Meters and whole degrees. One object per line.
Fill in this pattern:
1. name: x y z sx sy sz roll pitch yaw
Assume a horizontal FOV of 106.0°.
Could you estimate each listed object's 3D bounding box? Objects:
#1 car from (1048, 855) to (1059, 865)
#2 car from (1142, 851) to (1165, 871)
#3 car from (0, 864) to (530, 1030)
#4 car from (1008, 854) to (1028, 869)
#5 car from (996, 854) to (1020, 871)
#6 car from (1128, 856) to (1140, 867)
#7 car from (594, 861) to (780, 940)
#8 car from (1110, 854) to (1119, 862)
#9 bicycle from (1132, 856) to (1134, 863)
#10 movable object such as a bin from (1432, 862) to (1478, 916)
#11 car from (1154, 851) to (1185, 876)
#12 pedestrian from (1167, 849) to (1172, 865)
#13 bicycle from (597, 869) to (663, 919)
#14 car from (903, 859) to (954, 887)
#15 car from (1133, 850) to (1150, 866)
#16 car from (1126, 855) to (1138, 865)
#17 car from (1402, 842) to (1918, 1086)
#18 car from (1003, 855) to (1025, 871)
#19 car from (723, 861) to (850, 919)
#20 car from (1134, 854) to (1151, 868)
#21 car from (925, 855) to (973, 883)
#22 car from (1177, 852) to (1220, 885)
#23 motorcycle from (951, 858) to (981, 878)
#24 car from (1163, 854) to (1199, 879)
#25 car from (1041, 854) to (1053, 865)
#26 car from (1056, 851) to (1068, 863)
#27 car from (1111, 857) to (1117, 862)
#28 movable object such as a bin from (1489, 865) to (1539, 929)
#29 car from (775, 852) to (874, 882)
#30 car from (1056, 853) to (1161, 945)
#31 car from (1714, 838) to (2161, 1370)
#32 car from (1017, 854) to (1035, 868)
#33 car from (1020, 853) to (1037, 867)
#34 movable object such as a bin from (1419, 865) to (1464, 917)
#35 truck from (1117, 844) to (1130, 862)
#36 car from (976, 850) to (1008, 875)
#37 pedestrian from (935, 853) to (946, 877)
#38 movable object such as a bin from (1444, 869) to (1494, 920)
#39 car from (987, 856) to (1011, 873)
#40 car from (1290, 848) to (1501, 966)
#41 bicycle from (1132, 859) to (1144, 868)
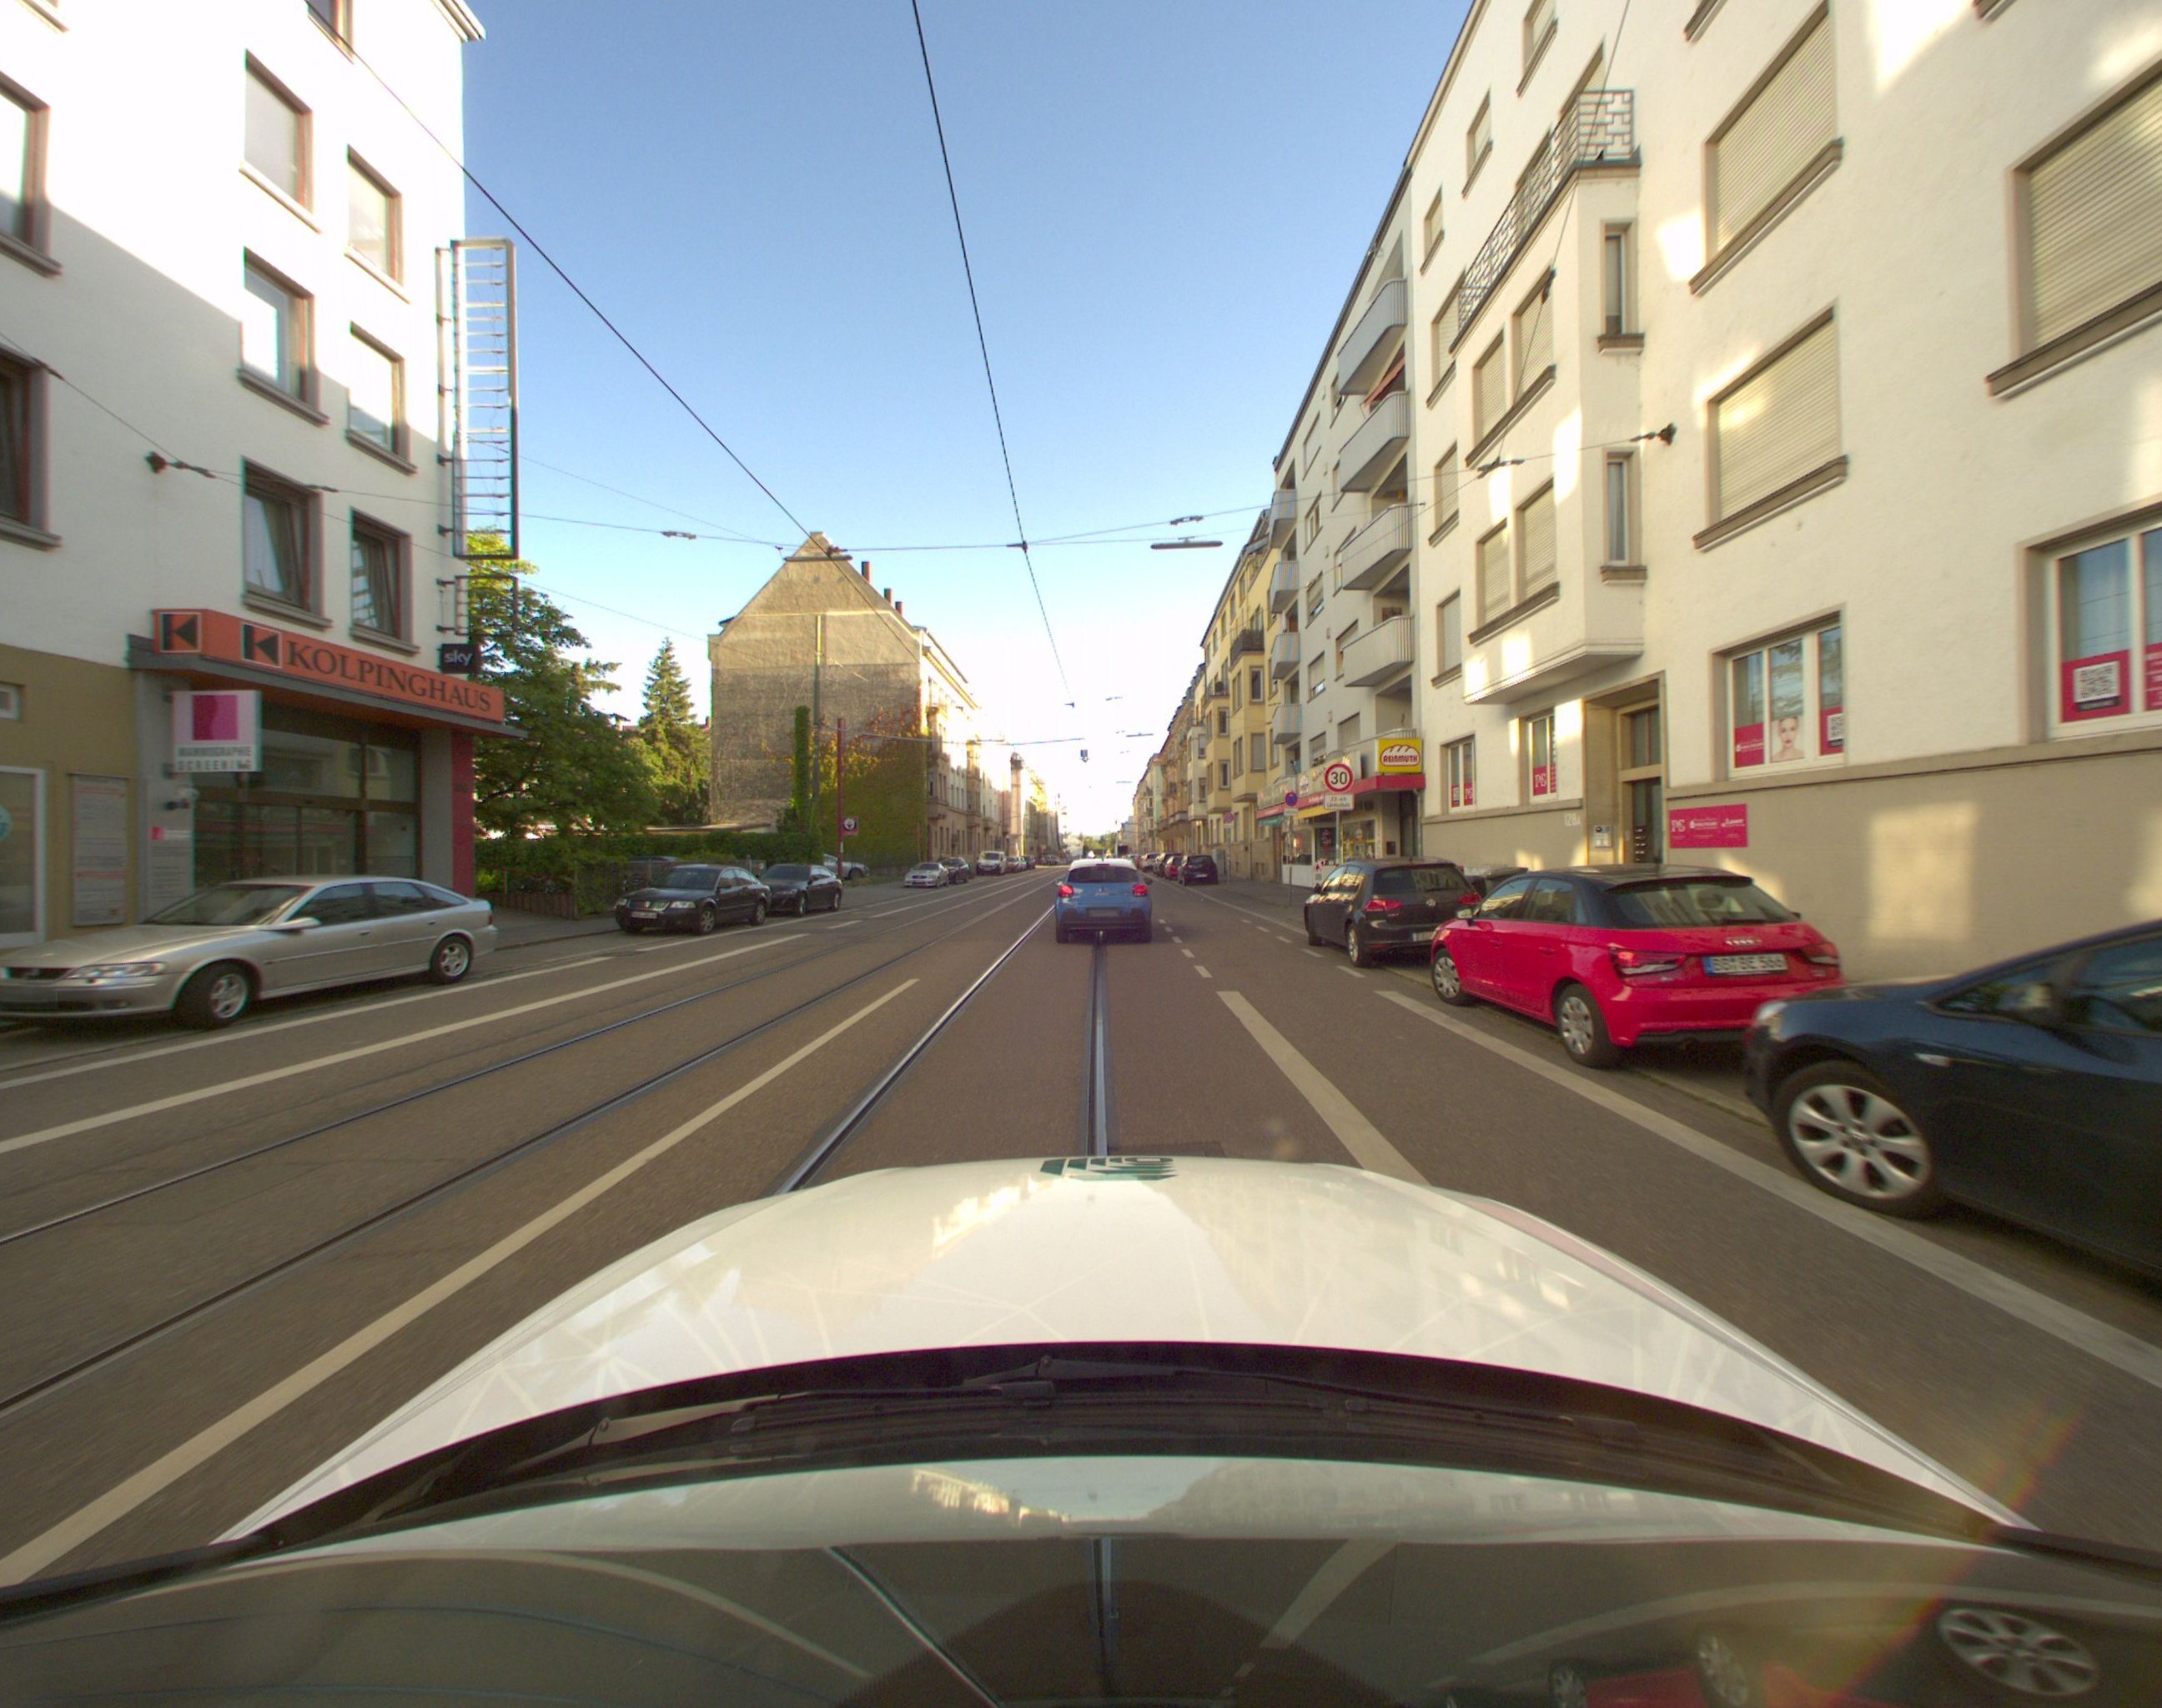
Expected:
1. car: -4.735 0.996 139.288 1.777 1.627 4.608 1 0 0
2. car: 6.411 0.645 72.530 1.836 1.691 4.507 -1 0 2
3. car: -8.952 0.860 9.539 1.776 1.398 4.448 1 0 3
4. car: -6.703 0.790 87.314 1.777 1.622 4.178 1 0 0
5. car: -6.842 0.813 76.631 1.777 1.523 4.360 1 0 1
6. car: 8.283 1.174 127.597 1.777 1.632 4.002 -1 0 2
7. car: -8.557 0.926 18.240 1.777 1.481 4.701 1 0 1
8. car: 7.330 0.881 178.010 1.814 1.894 4.002 0 0 2
9. bicycle: 7.843 0.846 122.426 0.351 1.044 1.730 -1 0 3
10. movable object such as a bin: 7.603 0.705 16.584 0.673 1.072 0.569 -1 0 0
11. car: 6.033 0.625 55.799 1.851 1.665 4.565 -1 0 3
12. pedestrian: 9.325 0.274 85.932 0.511 1.687 0.448 -1 0 1
13. bicycle: -11.436 0.985 20.728 0.438 1.174 2.051 0 0 3
14. car: -8.034 0.973 43.226 1.776 1.314 4.222 1 0 2
15. car: 7.424 0.471 100.479 1.746 1.735 4.509 -4 0 2
16. car: 8.264 0.905 133.159 1.777 1.576 4.328 -1 0 2
17. car: 4.523 0.721 7.271 1.849 1.473 3.991 -4 0 3
18. car: -6.707 0.849 82.000 1.766 1.547 4.365 1 0 0
19. car: -8.452 0.968 23.868 1.776 1.446 4.844 1 0 2
20. car: 7.051 0.783 93.623 1.746 1.594 3.732 -1 0 3
21. car: -7.775 0.863 48.460 1.775 1.565 4.615 1 0 4
22. car: 5.852 0.688 40.969 1.712 1.491 4.003 -2 0 2
23. motorcycle: -7.777 0.942 55.122 0.875 1.351 1.970 -1 0 34
24. car: 6.018 0.721 49.519 1.851 1.455 4.713 -1 0 3
25. car: -5.308 0.799 128.108 1.777 1.690 4.667 1 0 0
26. car: -3.743 0.576 162.303 2.138 2.475 4.979 1 0 0
27. car: 9.457 1.629 231.619 1.758 1.487 4.033 -1 0 2
28. movable object such as a bin: 7.430 0.732 14.002 0.556 1.057 0.554 -1 0 0
29. car: -13.839 0.657 44.020 4.813 1.518 1.980 -1 0 -32
30. car: 0.526 0.758 15.575 1.728 1.507 3.994 1 0 2
31. car: 4.087 0.732 2.069 1.849 1.507 4.099 -4 0 3
32. car: -6.286 0.803 93.011 1.776 1.553 3.020 1 0 2
33. car: -6.248 0.751 97.163 1.777 1.606 4.396 1 0 0
34. movable object such as a bin: 7.624 0.772 17.244 0.673 1.072 0.569 -1 0 0
35. truck: 10.329 -0.261 198.353 2.841 4.083 11.279 -1 0 3
36. car: -7.254 0.683 66.778 1.966 1.949 5.252 1 0 1
37. pedestrian: -10.006 0.794 58.034 0.677 1.724 0.616 0 0 2
38. movable object such as a bin: 7.235 0.747 15.190 0.653 0.916 0.569 -1 0 0
39. car: -7.222 0.884 72.133 1.597 1.472 3.647 1 0 2
40. car: 4.572 0.686 12.589 1.703 1.407 4.361 -4 0 3
41. bicycle: 8.635 1.397 122.725 1.716 1.154 0.469 -4 0 2
